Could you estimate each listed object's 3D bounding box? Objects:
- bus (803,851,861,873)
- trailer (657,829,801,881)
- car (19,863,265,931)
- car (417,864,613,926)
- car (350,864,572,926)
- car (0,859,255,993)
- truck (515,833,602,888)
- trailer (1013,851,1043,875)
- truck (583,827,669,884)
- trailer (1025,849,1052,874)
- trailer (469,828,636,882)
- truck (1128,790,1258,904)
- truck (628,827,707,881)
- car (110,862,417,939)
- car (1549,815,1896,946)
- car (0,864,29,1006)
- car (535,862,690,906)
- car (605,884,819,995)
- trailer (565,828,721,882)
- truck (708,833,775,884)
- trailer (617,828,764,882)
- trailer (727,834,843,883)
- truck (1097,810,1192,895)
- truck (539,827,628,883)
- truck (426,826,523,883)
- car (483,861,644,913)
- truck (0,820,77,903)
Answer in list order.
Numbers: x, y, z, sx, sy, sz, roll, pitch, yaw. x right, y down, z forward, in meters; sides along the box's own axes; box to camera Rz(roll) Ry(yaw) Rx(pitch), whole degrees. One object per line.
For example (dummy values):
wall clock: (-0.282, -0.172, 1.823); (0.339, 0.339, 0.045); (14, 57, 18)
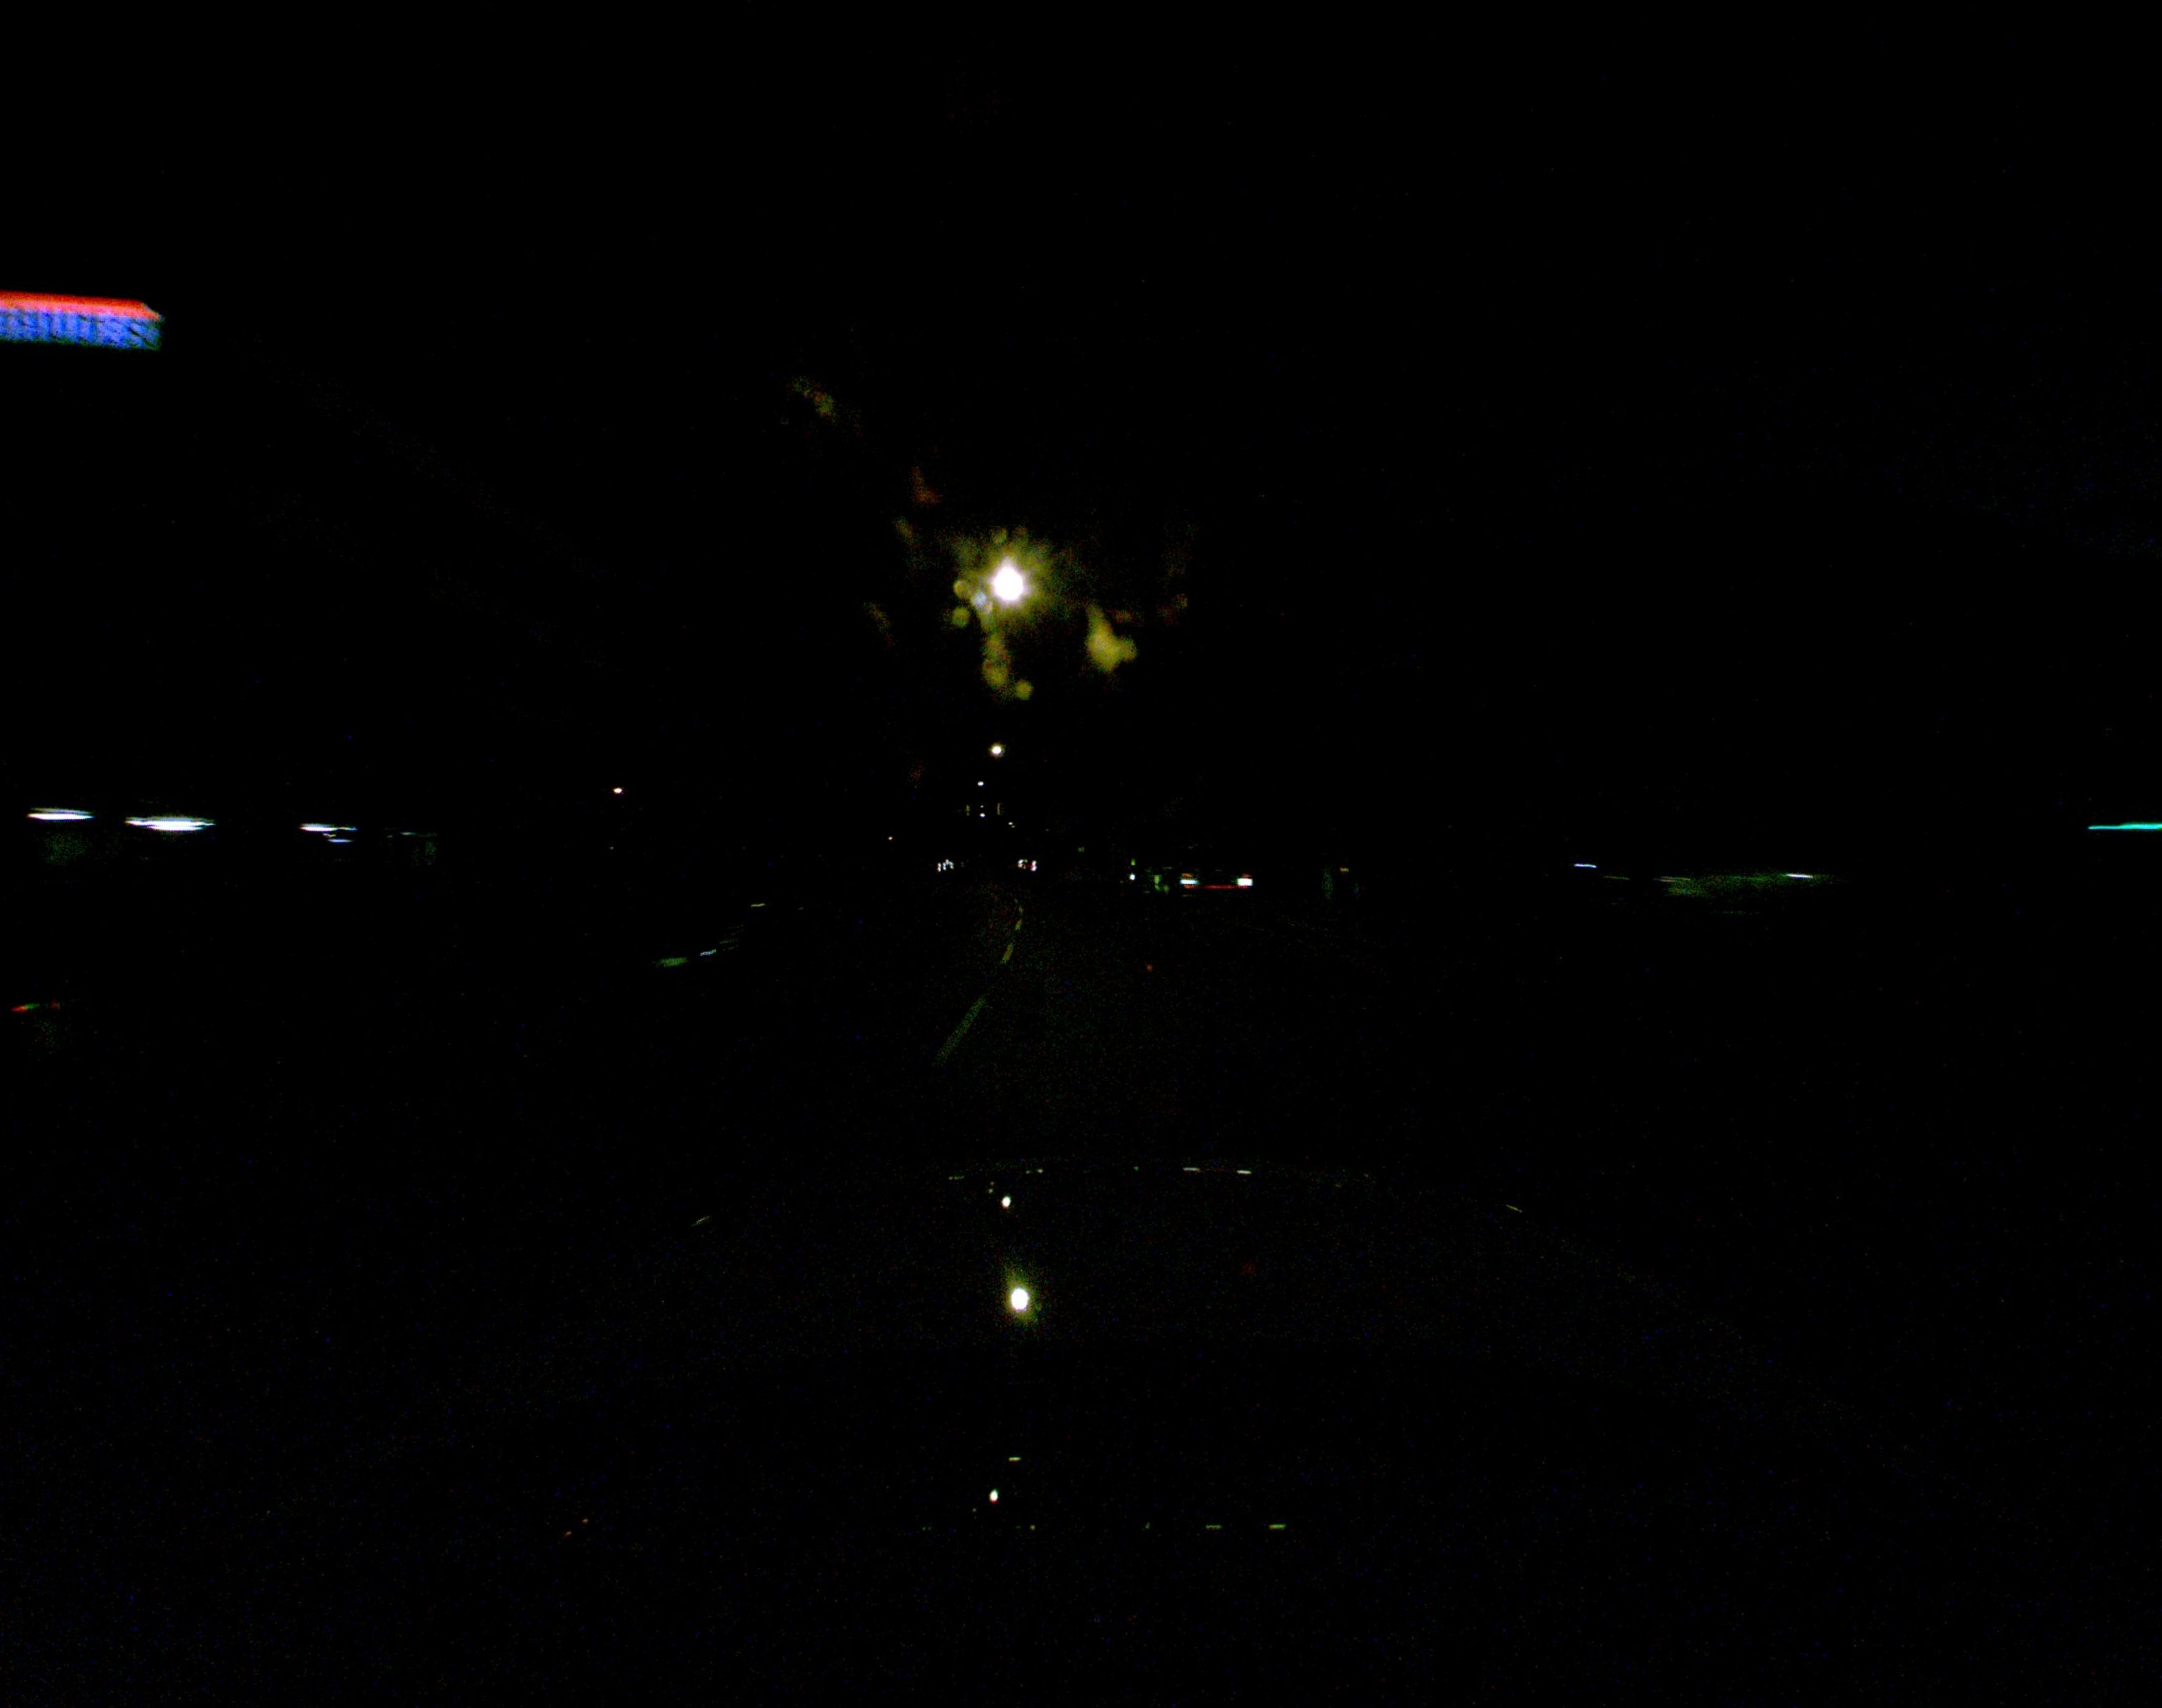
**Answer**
bus: (-38.720, 1.182, 127.309); (2.994, 3.204, 12.709); (-1, 0, 10)
trailer: (-30.665, 0.102, 72.340); (3.035, 4.148, 15.062); (0, 0, 15)
car: (-25.693, 1.097, 22.566); (1.989, 1.641, 4.199); (0, 0, -3)
car: (-16.877, 1.179, 24.478); (4.397, 1.681, 1.959); (-1, 0, -5)
car: (-16.517, 1.059, 21.885); (4.395, 1.479, 1.848); (-1, 0, -4)
car: (-15.692, 1.044, 12.219); (4.395, 1.816, 1.960); (-2, 0, -4)
truck: (-43.572, 0.537, 68.112); (3.039, 4.357, 5.582); (0, 0, 10)
trailer: (-7.288, 1.240, 111.275); (3.482, 3.219, 4.846); (0, -1, -11)
truck: (-36.482, 0.108, 65.524); (3.036, 4.357, 5.587); (0, 0, 14)
trailer: (-5.130, 0.922, 96.530); (2.614, 2.846, 4.691); (0, -1, -11)
trailer: (-46.888, 0.097, 73.387); (3.039, 4.357, 15.046); (0, 0, 11)
truck: (4.077, -0.202, 32.202); (2.753, 3.783, 9.114); (-2, -1, -7)
truck: (-32.726, 0.019, 64.682); (3.036, 4.148, 4.955); (0, 0, 15)
car: (-16.546, 0.902, 16.683); (4.257, 1.394, 1.825); (-1, 0, -4)
car: (10.183, 0.371, 13.086); (4.324, 1.646, 1.887); (-4, 0, -9)
car: (-16.089, 1.079, 9.577); (4.597, 1.816, 1.960); (-1, -1, -4)
car: (-17.105, 1.077, 29.919); (4.435, 1.452, 2.060); (-1, 0, -1)
car: (-5.855, 1.274, 13.571); (1.811, 1.371, 4.354); (-1, 0, -4)
trailer: (-38.633, 0.091, 73.097); (3.036, 4.357, 15.057); (0, 0, 13)
truck: (-27.280, 0.340, 65.633); (3.041, 3.932, 4.513); (0, 0, 8)
trailer: (-34.575, 0.149, 73.375); (3.036, 4.357, 15.057); (0, 0, 14)
trailer: (-26.137, 0.405, 73.435); (3.041, 3.932, 15.037); (0, 0, 8)
truck: (2.968, -0.027, 42.007); (2.753, 3.783, 10.198); (-2, -1, -8)
truck: (-40.309, 0.068, 66.152); (3.037, 4.357, 5.586); (0, 0, 13)
truck: (-48.415, 0.058, 65.239); (3.039, 4.357, 5.582); (0, 0, 10)
car: (-17.197, 1.076, 27.212); (4.123, 1.579, 1.839); (-1, 0, -4)
truck: (-65.308, 0.551, 45.725); (12.527, 4.550, 3.574); (-1, 0, -4)
